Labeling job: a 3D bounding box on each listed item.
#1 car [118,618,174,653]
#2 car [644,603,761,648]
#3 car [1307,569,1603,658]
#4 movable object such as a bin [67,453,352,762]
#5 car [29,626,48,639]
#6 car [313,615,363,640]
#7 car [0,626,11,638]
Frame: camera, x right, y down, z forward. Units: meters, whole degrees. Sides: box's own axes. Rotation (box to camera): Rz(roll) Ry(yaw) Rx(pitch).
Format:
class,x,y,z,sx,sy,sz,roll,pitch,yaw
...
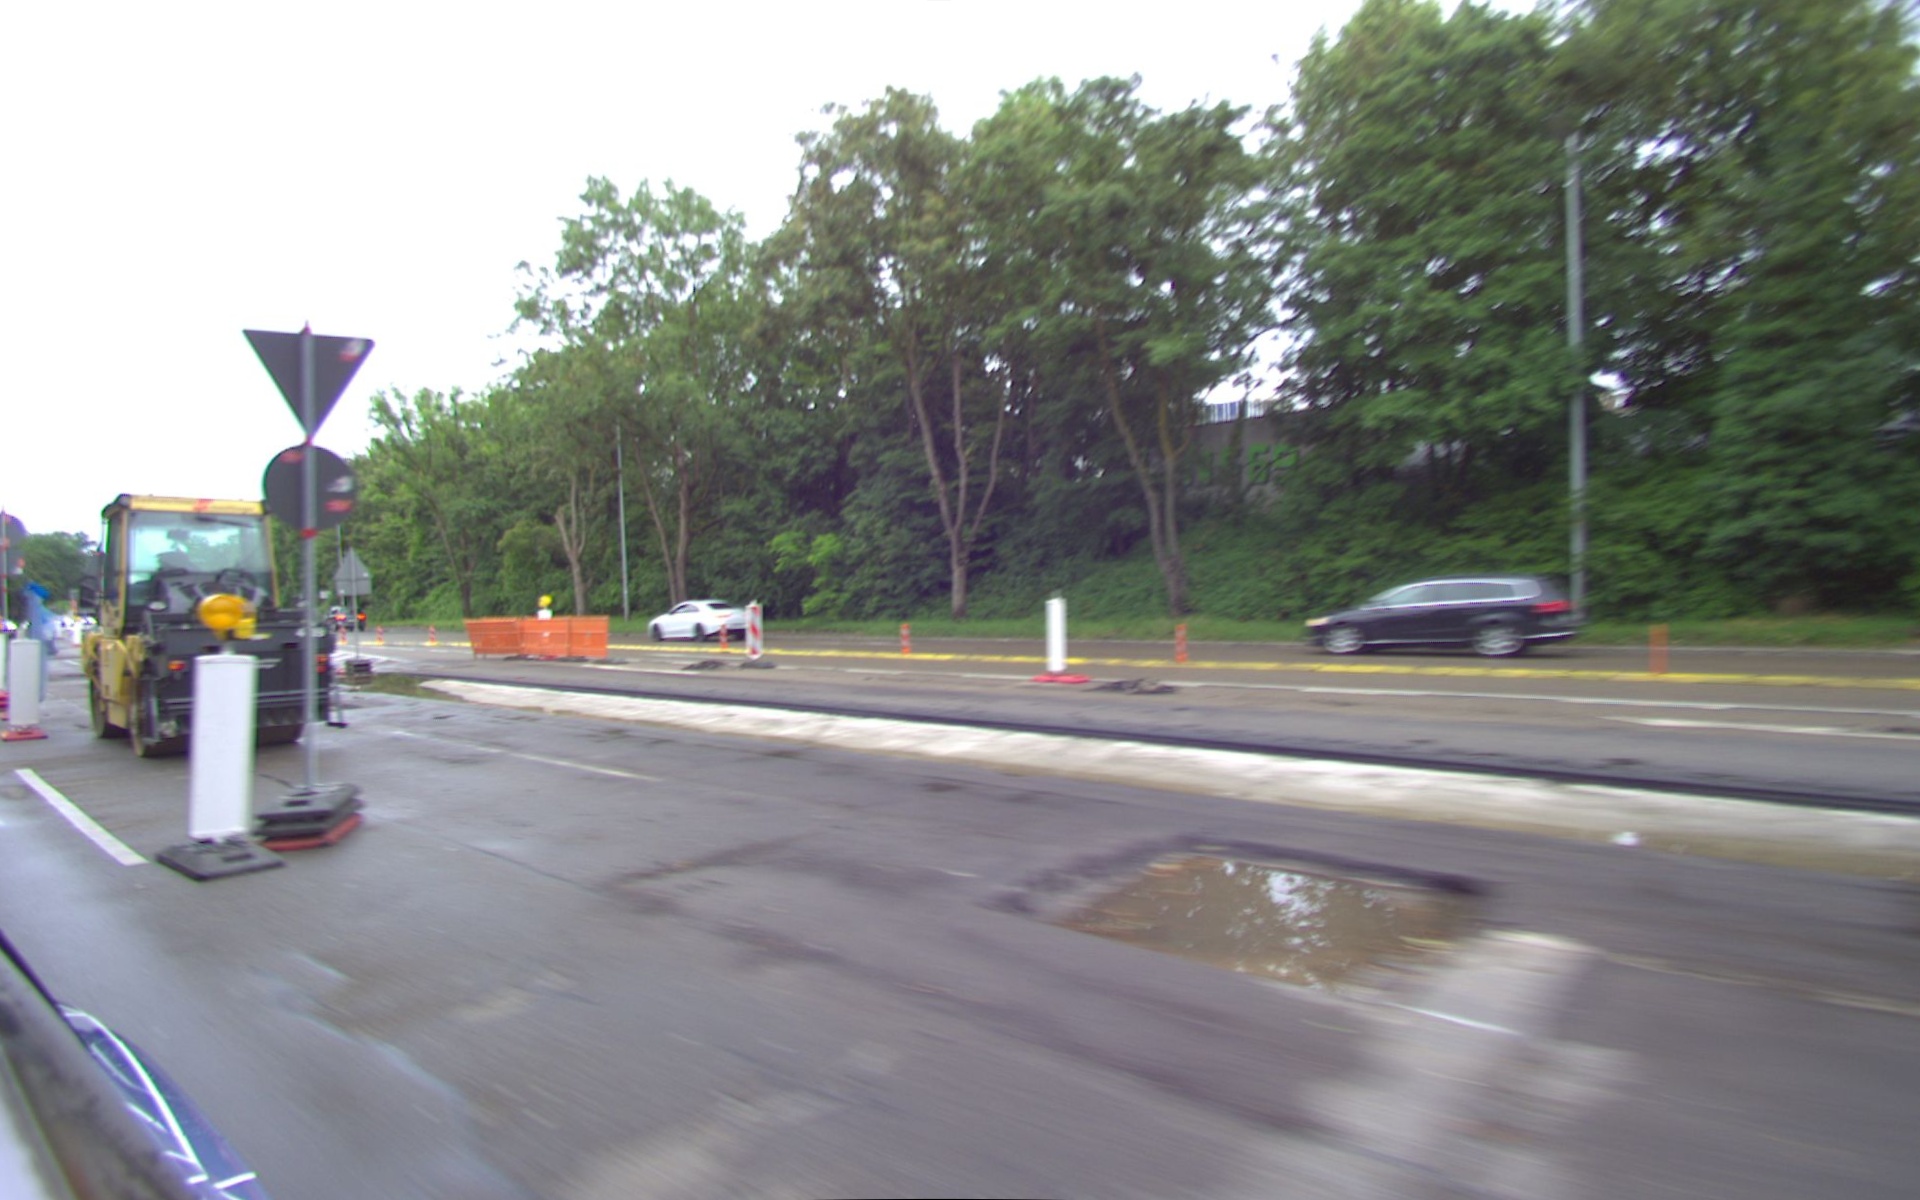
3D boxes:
class,x,y,z,sx,sy,sz,roll,pitch,yaw
car,-41.633,1.796,51.719,3.862,1.596,1.769,-1,1,45
car,-9.017,0.872,35.274,4.468,1.437,1.765,-2,0,42
car,9.134,0.252,18.936,4.677,1.463,1.766,-2,0,40
movable object such as a bin,-9.277,0.103,12.293,5.245,3.008,1.784,-1,0,43
car,-113.182,3.968,124.326,1.686,1.453,4.236,-1,0,-42
car,-42.677,1.865,69.374,4.766,1.626,1.657,-2,-1,42
car,-124.498,4.156,131.483,1.686,1.453,4.236,-1,0,-42
